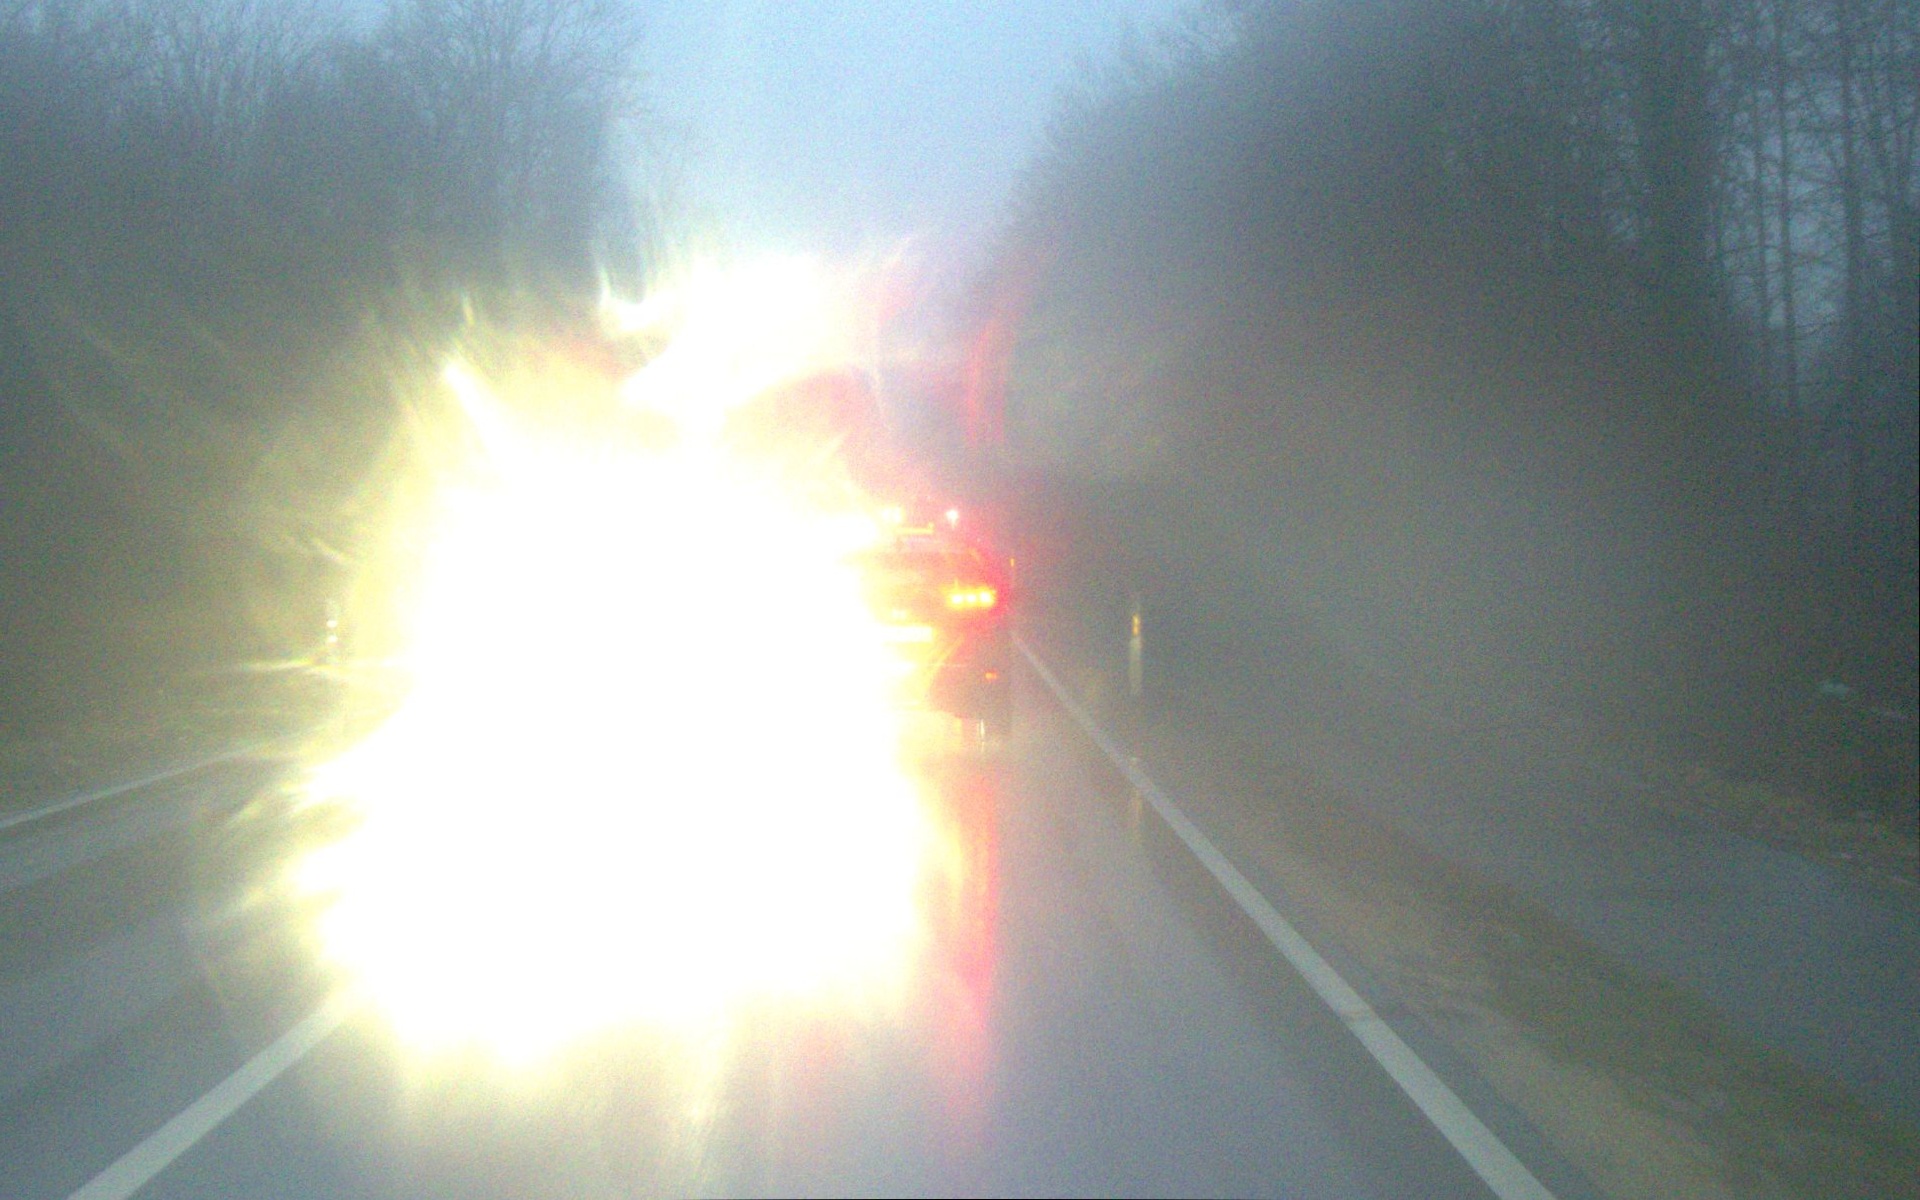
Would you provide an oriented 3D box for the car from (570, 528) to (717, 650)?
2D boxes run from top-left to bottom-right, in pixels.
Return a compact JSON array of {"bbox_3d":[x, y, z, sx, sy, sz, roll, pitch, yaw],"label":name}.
[{"bbox_3d":[-4.263,-0.183,46.818,1.748,1.547,3.994,0,2,-2],"label":"car"}]

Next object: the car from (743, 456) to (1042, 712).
[{"bbox_3d":[-0.545,-0.180,27.985,2.198,1.871,4.827,1,2,-1],"label":"car"}]
